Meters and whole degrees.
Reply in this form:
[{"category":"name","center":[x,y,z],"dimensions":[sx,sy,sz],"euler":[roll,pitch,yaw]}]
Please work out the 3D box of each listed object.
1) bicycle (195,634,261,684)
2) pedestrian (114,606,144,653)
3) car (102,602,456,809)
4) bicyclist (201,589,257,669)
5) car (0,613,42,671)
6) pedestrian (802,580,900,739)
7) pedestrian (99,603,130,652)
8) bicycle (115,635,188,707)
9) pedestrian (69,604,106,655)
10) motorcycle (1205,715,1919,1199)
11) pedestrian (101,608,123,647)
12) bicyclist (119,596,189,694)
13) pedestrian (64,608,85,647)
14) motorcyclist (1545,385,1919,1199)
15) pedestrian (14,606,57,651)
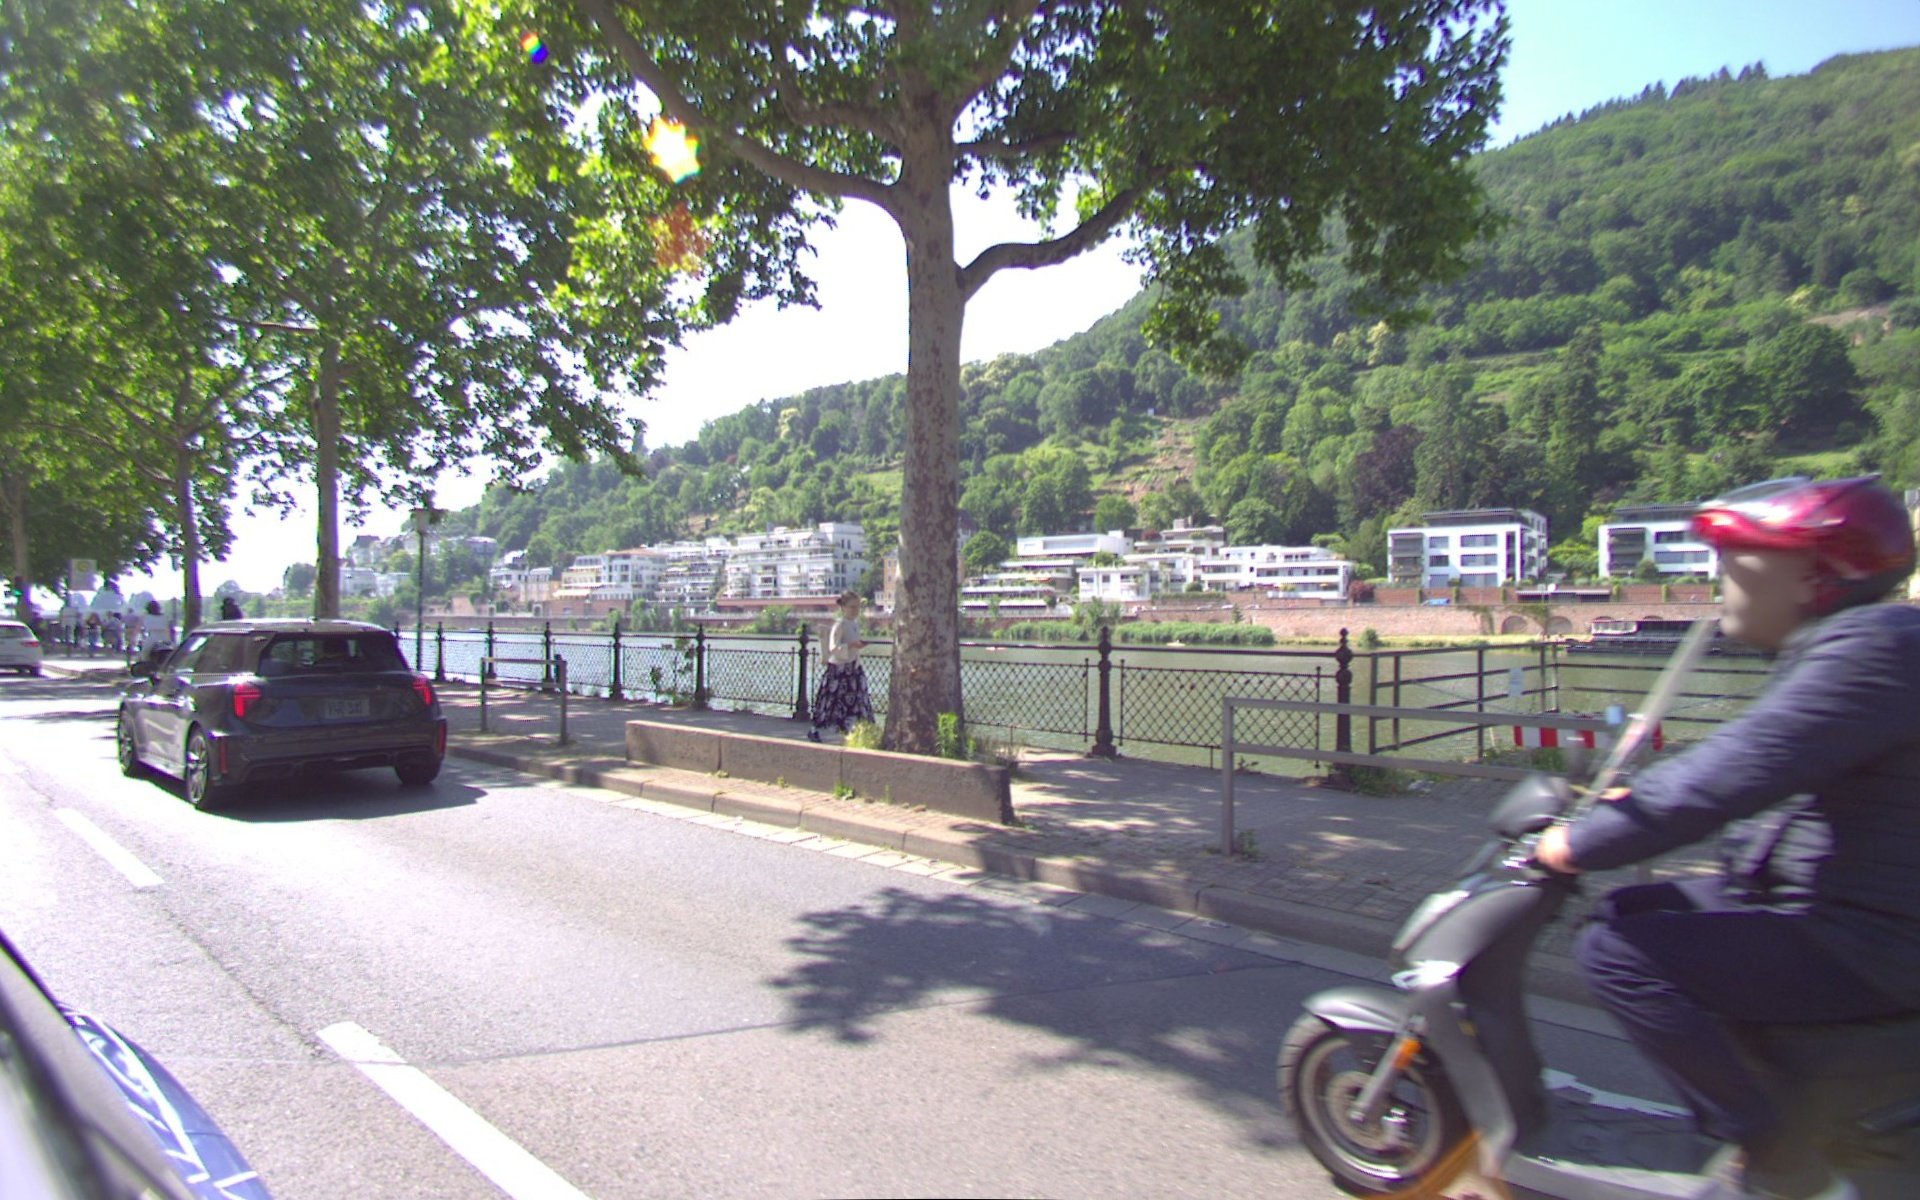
[{"category":"bicycle","center":[-15.094,1.199,20.848],"dimensions":[1.953,0.986,0.746],"euler":[-2,-3,43]},{"category":"pedestrian","center":[-31.757,1.137,38.677],"dimensions":[0.971,1.777,0.704],"euler":[-1,-2,40]},{"category":"car","center":[-6.293,0.800,9.176],"dimensions":[4.000,1.469,1.683],"euler":[-1,-2,41]},{"category":"bicyclist","center":[-15.047,0.596,20.827],"dimensions":[1.089,1.595,0.711],"euler":[-1,-2,43]},{"category":"car","center":[-25.668,1.129,26.728],"dimensions":[4.090,1.456,1.683],"euler":[-3,-2,42]},{"category":"pedestrian","center":[-1.152,0.613,10.732],"dimensions":[0.695,1.598,0.754],"euler":[-1,-2,40]},{"category":"pedestrian","center":[-29.927,0.983,35.810],"dimensions":[0.792,1.727,0.646],"euler":[-1,-3,39]},{"category":"bicycle","center":[-13.224,1.131,16.539],"dimensions":[0.732,1.085,1.954],"euler":[0,-2,-45]},{"category":"pedestrian","center":[-30.211,1.010,35.029],"dimensions":[0.782,1.726,0.827],"euler":[-1,-2,40]},{"category":"motorcycle","center":[1.729,0.870,1.863],"dimensions":[2.324,1.085,0.875],"euler":[1,-2,37]},{"category":"pedestrian","center":[-36.515,1.181,43.581],"dimensions":[0.910,1.621,0.544],"euler":[-1,0,40]},{"category":"bicyclist","center":[-13.209,0.735,16.580],"dimensions":[1.025,1.543,0.758],"euler":[-4,-3,43]},{"category":"pedestrian","center":[-37.597,1.149,42.974],"dimensions":[0.991,1.630,0.488],"euler":[-1,-2,41]},{"category":"motorcyclist","center":[1.738,0.480,1.845],"dimensions":[1.024,1.595,0.870],"euler":[-1,-2,40]},{"category":"pedestrian","center":[-37.292,1.143,40.840],"dimensions":[1.008,1.786,0.770],"euler":[1,-2,-9]}]
